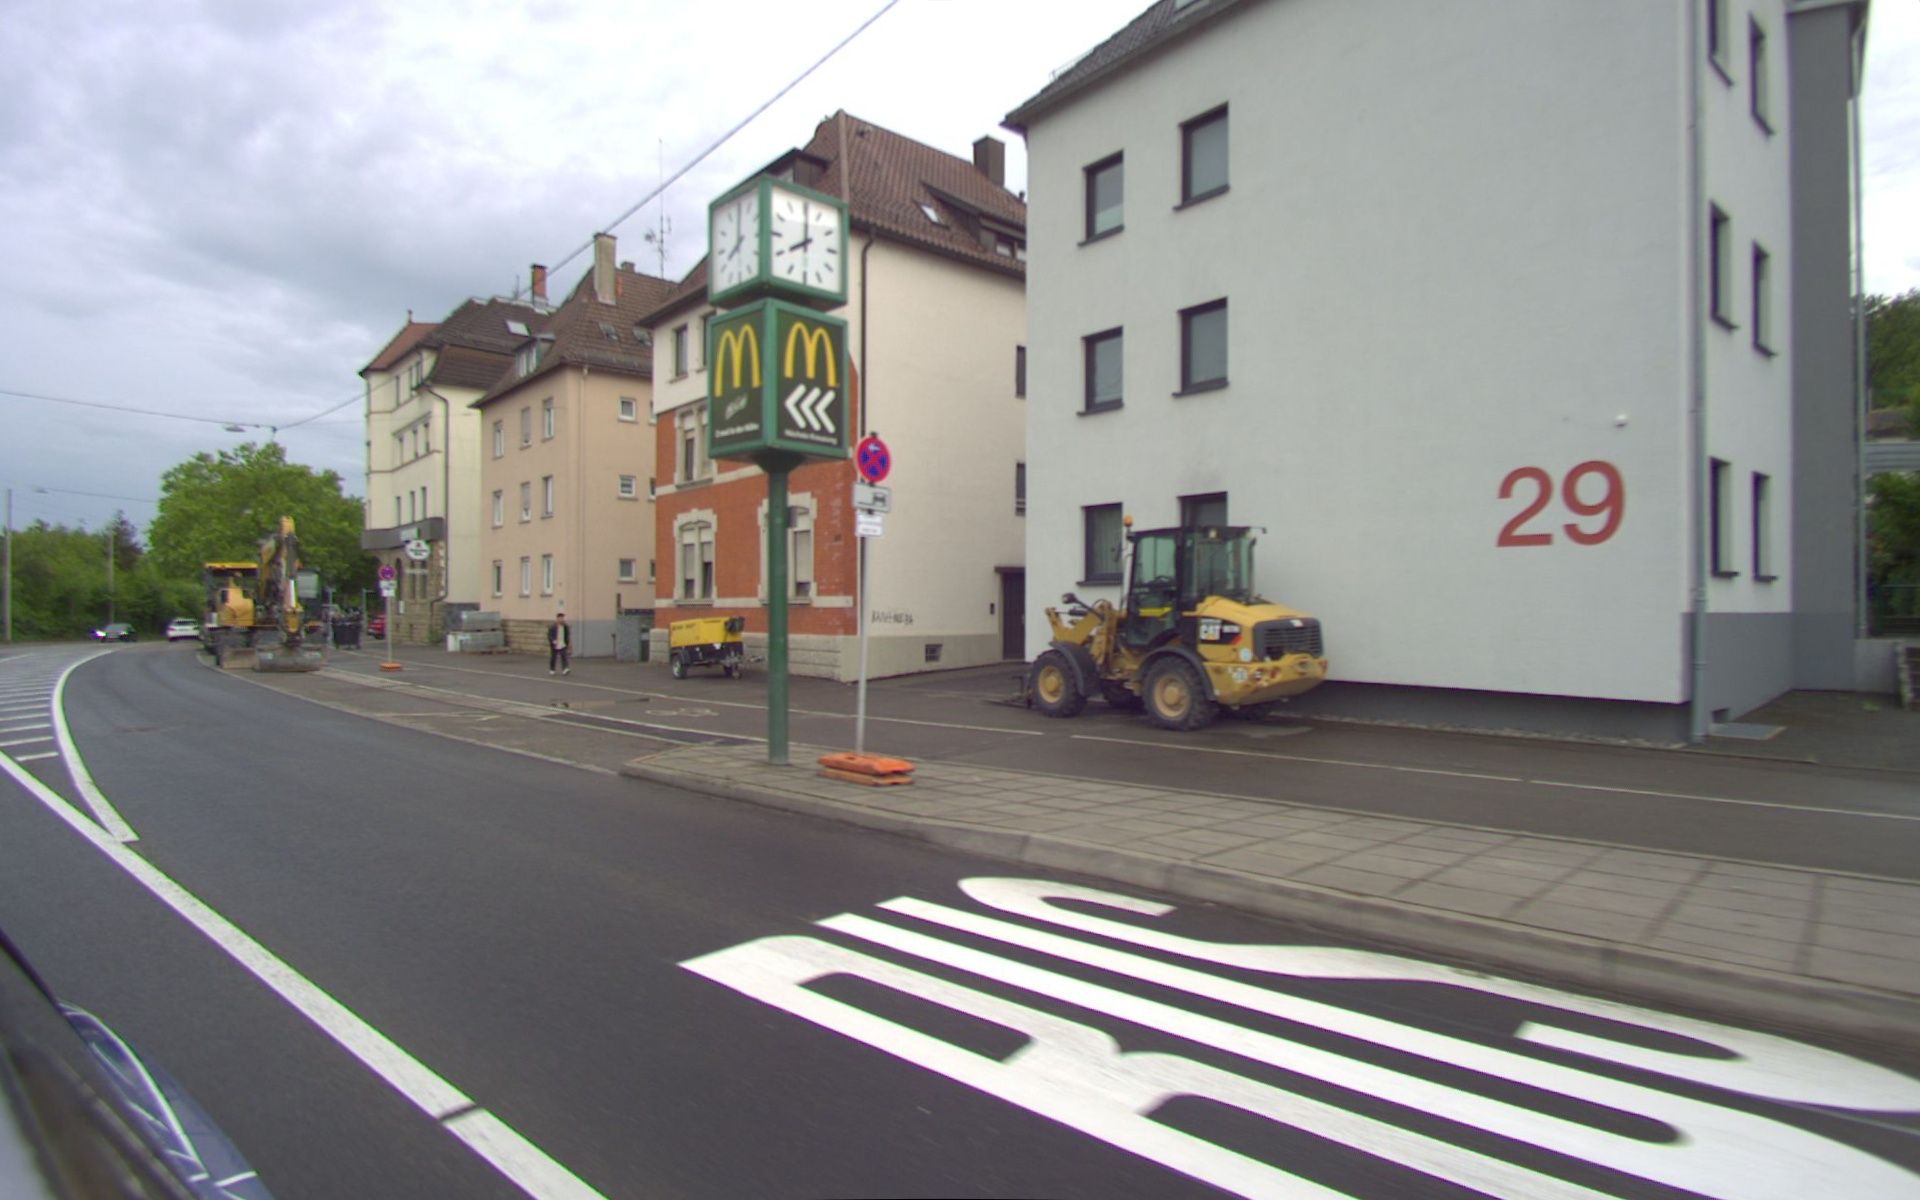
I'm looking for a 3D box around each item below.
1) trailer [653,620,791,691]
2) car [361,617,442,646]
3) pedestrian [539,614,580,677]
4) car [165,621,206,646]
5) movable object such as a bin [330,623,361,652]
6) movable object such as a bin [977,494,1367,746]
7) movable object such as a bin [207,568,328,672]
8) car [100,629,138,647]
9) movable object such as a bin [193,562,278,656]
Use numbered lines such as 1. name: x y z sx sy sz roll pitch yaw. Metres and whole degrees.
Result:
1. trailer: -5.394 1.182 22.593 1.307 1.409 4.002 0 -1 -40
2. car: -33.573 1.880 60.879 3.937 1.677 1.914 1 -1 -40
3. pedestrian: -10.058 1.129 25.410 0.595 1.540 1.039 -1 -1 -43
4. car: -53.067 2.255 69.408 1.932 1.656 4.456 1 -2 -33
5. movable object such as a bin: -28.259 1.723 46.558 1.142 1.312 1.250 1 -1 -35
6. movable object such as a bin: 2.683 0.255 13.986 2.102 2.828 4.987 -2 0 -39
7. movable object such as a bin: -22.779 0.680 33.226 2.789 3.136 4.640 1 -2 -41
8. car: -63.499 2.851 76.467 1.579 1.312 3.724 -1 -1 -31
9. movable object such as a bin: -32.776 0.452 45.891 2.909 3.873 8.147 0 -1 -35
